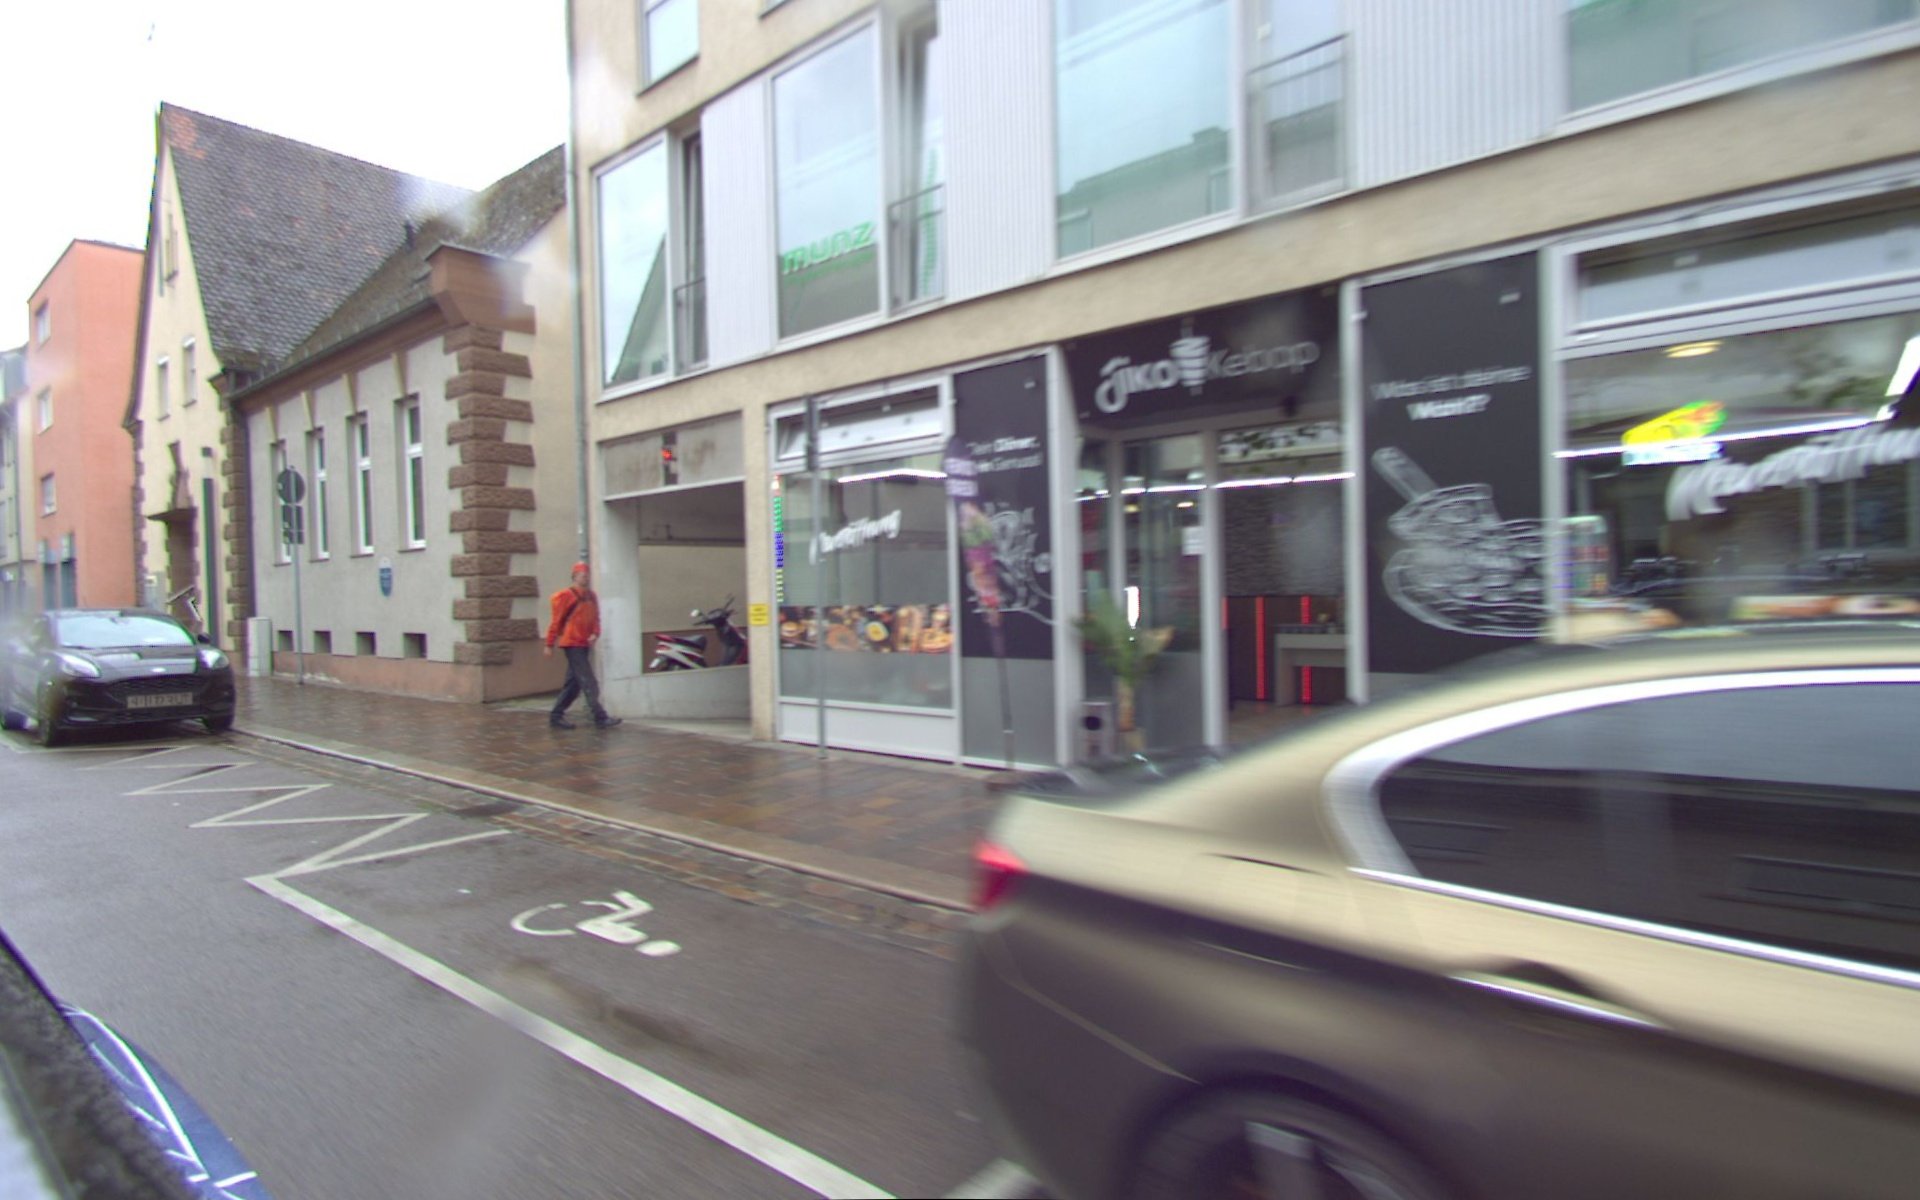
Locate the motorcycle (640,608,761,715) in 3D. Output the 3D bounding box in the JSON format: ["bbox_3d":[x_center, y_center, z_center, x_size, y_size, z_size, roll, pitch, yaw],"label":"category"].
[{"bbox_3d":[-3.375,0.766,13.247,0.536,1.300,1.491,-1,0,40],"label":"motorcycle"}]

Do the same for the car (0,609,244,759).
[{"bbox_3d":[-10.557,0.914,12.522,3.925,1.537,1.718,-1,0,38],"label":"car"}]

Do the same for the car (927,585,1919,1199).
[{"bbox_3d":[2.177,0.660,1.305,4.481,1.366,1.737,-1,1,42],"label":"car"}]

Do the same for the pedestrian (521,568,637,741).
[{"bbox_3d":[-4.106,0.567,10.962,0.994,1.790,0.552,-2,1,-2],"label":"pedestrian"}]
